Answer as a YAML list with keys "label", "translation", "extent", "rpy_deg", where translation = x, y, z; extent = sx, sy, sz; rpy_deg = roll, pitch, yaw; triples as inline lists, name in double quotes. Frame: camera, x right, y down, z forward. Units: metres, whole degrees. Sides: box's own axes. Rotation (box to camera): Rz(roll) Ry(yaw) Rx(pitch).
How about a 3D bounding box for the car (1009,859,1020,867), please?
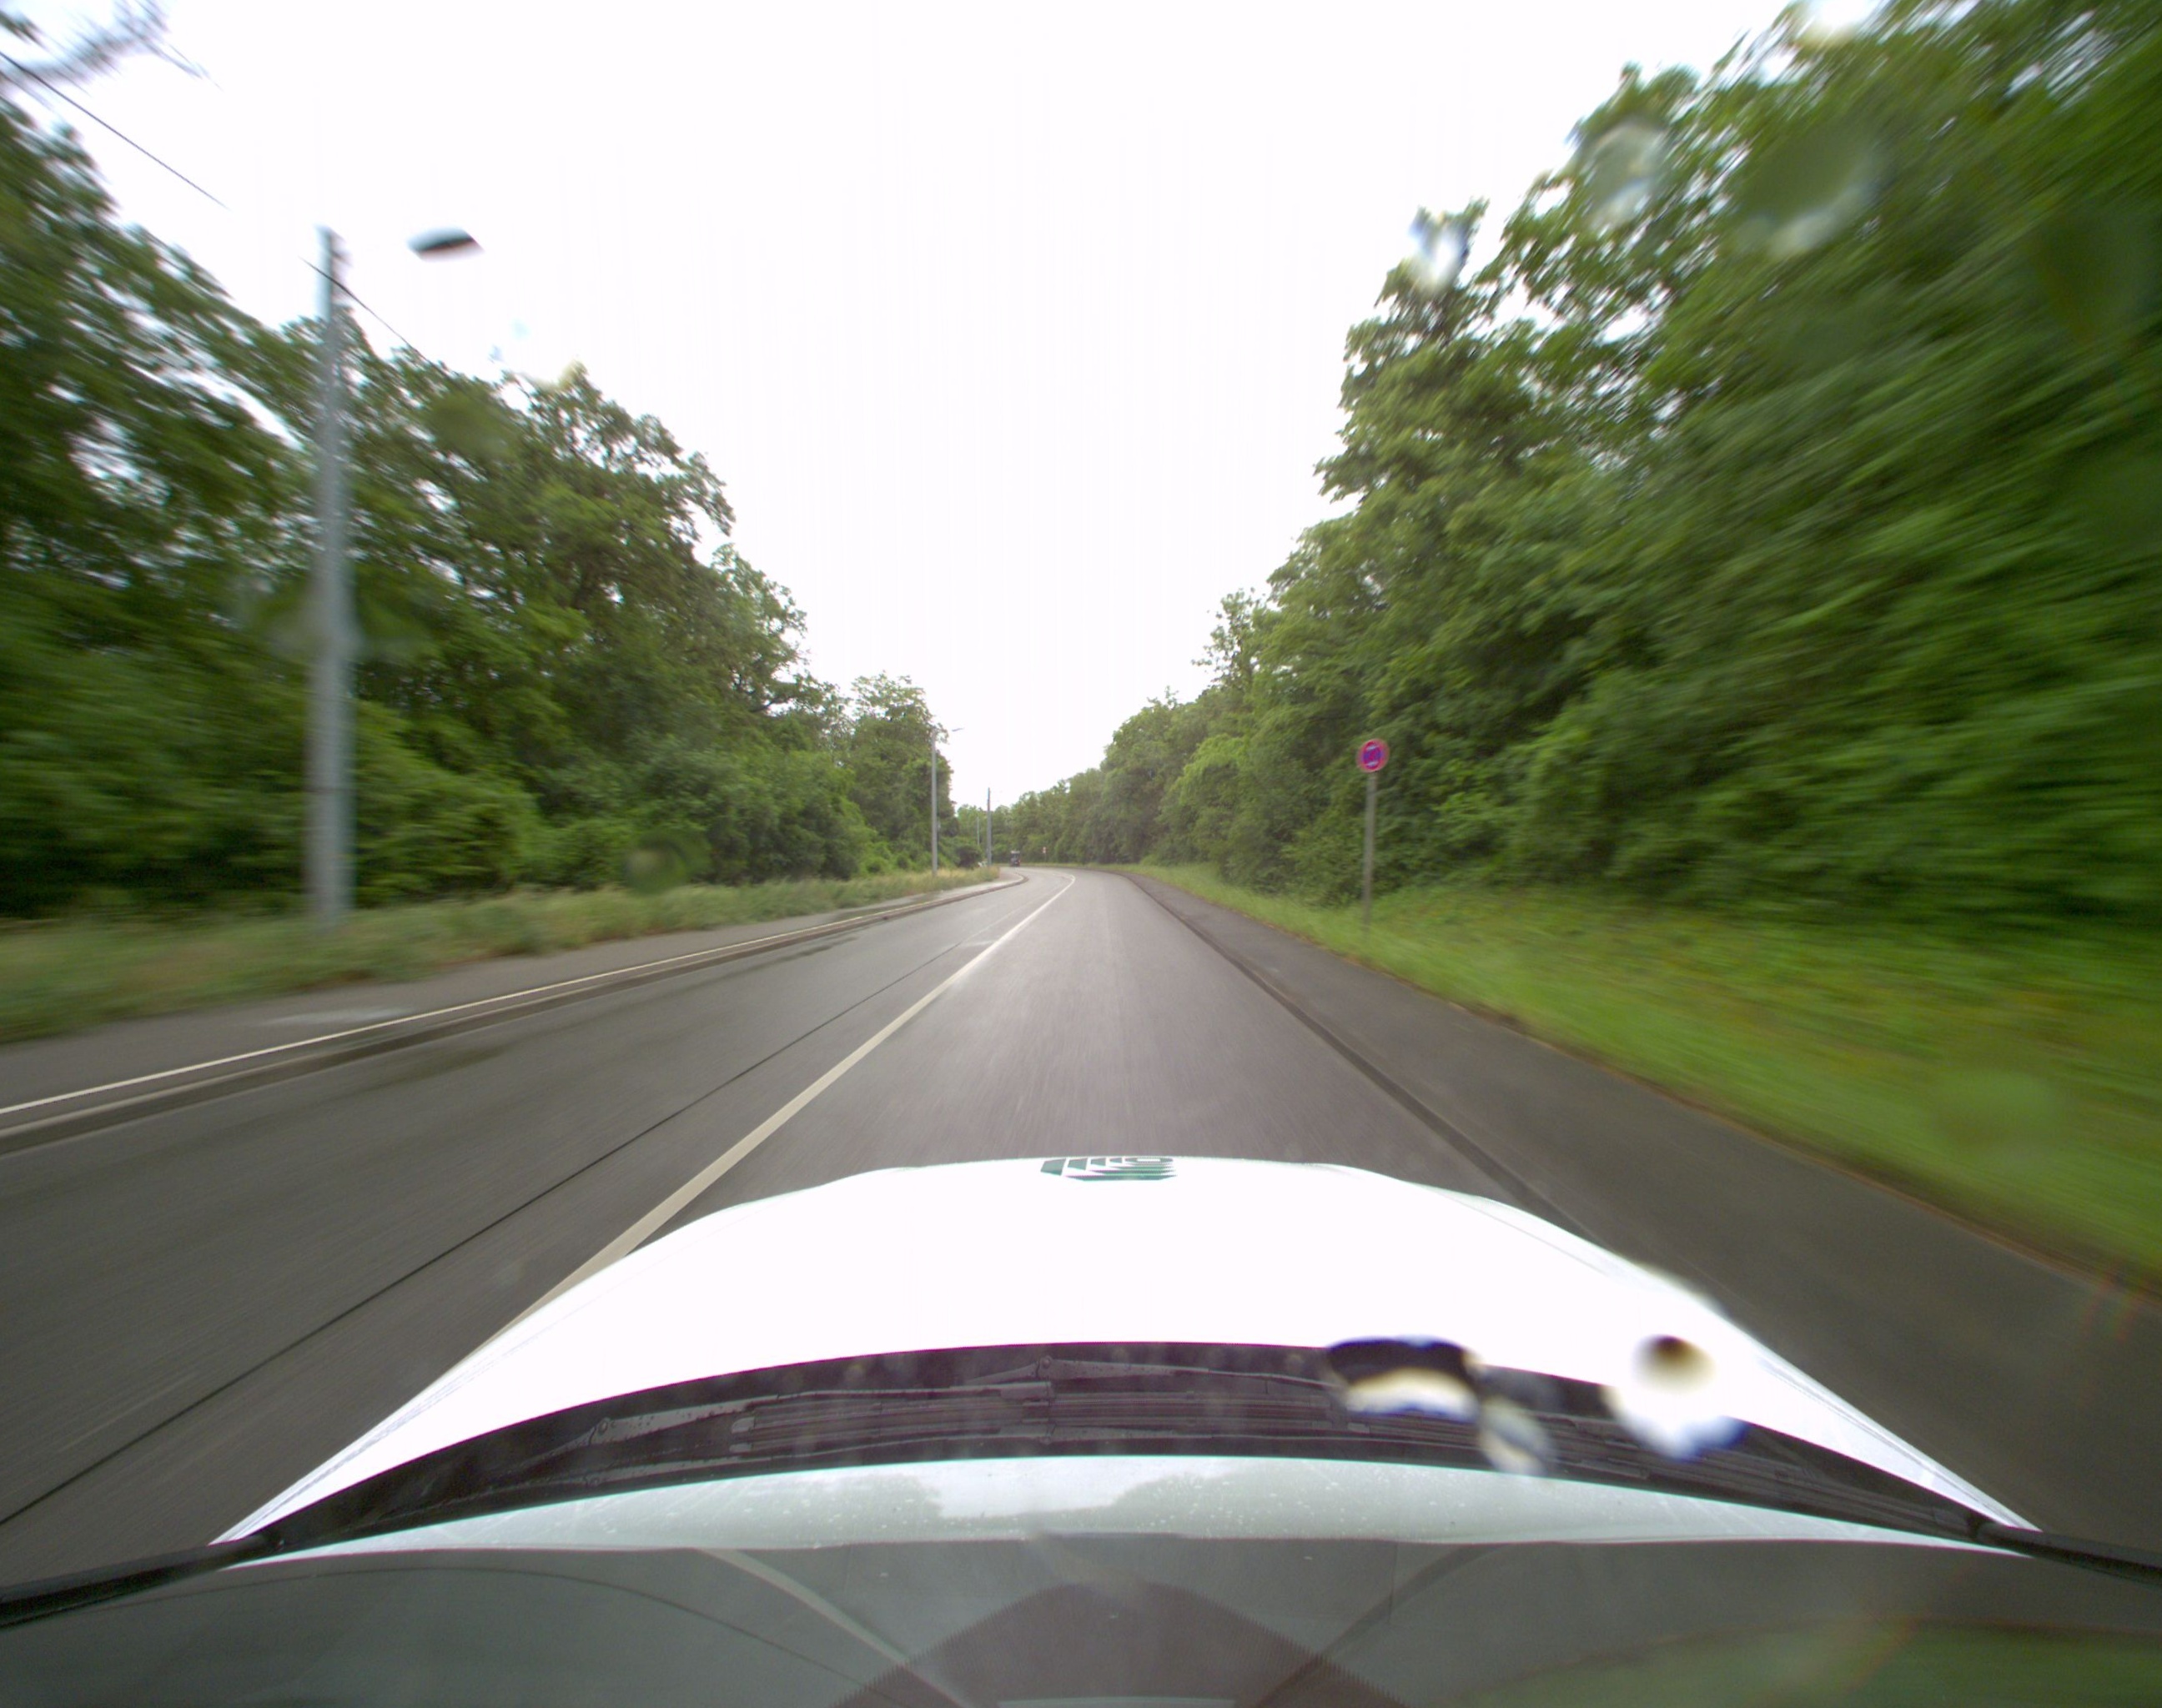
- label: "car"
  translation: [-13.931, 1.812, 170.538]
  extent: [1.869, 1.596, 3.983]
  rpy_deg: [3, -1, -12]
